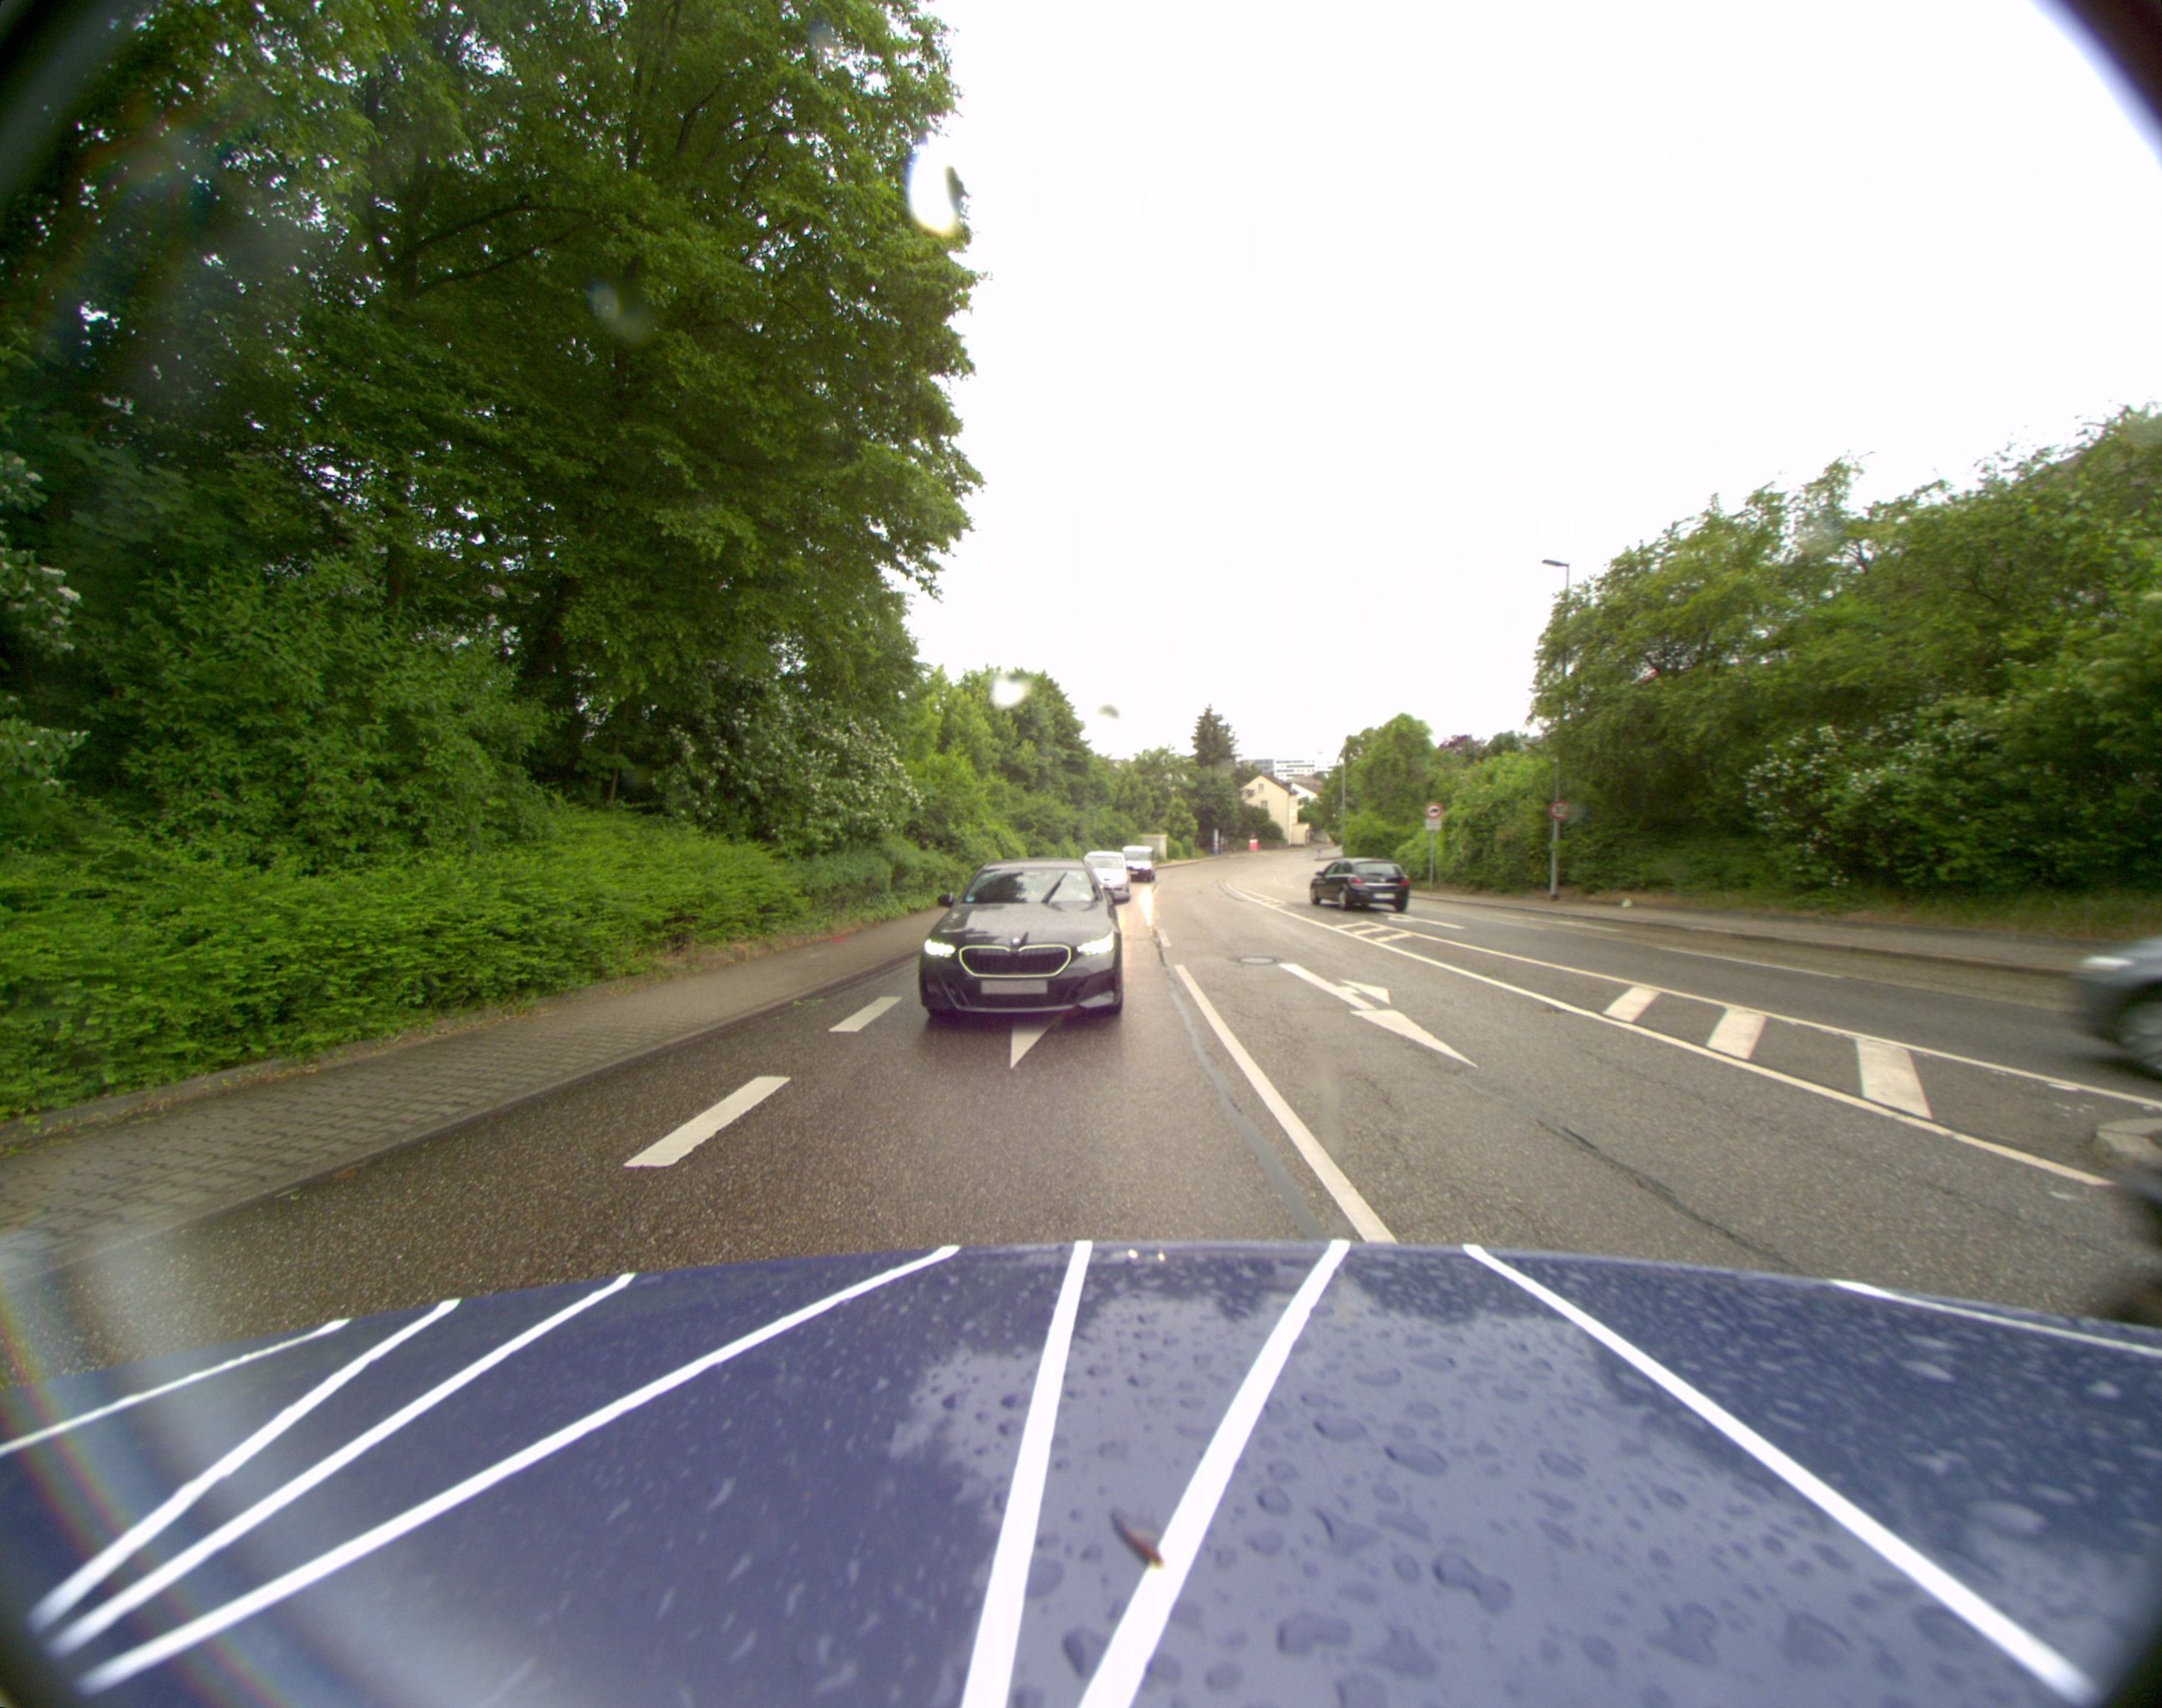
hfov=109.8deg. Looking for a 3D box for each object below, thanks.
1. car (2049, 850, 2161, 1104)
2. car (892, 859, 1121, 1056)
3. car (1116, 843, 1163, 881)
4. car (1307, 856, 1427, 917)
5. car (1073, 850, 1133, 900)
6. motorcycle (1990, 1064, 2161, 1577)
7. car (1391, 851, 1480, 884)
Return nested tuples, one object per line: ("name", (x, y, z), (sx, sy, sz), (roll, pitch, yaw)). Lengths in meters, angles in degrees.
("car", (7.696, 0.788, 3.307), (1.747, 1.593, 4.031), (1, 0, -2))
("car", (-0.542, 0.862, 8.344), (1.872, 1.497, 4.197), (1, 1, 2))
("car", (3.026, 0.356, 39.946), (1.778, 1.765, 3.997), (3, 2, -5))
("car", (7.882, 0.826, 21.339), (1.900, 1.500, 4.000), (1, 0, 1))
("car", (0.841, 0.665, 26.104), (1.817, 1.431, 4.000), (3, 2, 4))
("motorcycle", (2.693, 1.110, 1.119), (0.692, 1.047, 1.747), (1, 2, 7))
("car", (19.457, 0.741, 41.858), (3.995, 1.527, 2.001), (-4, 0, 8))
